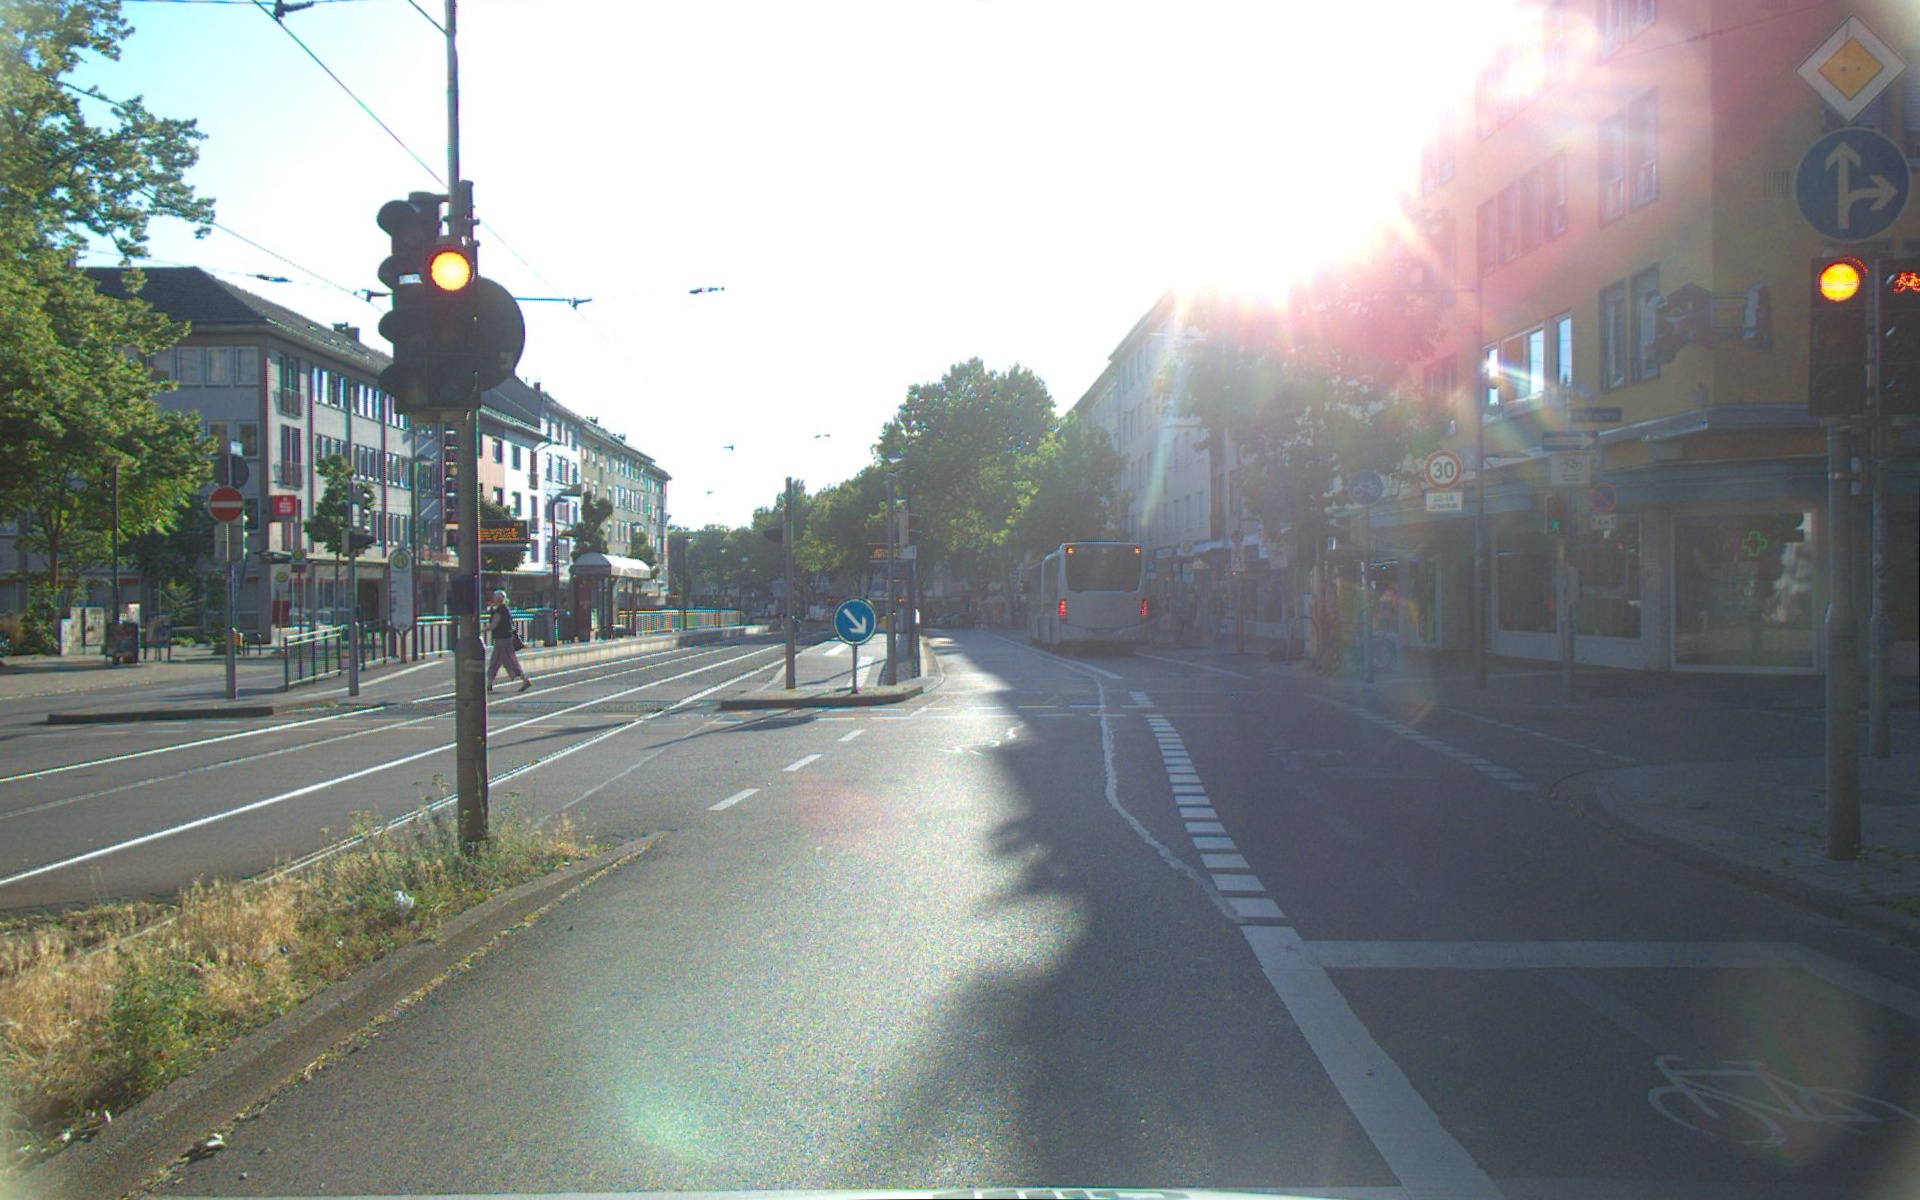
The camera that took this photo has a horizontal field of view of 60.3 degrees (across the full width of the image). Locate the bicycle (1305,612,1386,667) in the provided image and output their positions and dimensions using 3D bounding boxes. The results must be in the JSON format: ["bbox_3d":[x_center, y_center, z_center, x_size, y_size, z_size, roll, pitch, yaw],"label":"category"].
[{"bbox_3d":[7.442,0.757,31.957,1.453,1.026,0.454,-1,0,-5],"label":"bicycle"}]

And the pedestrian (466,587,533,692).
[{"bbox_3d":[-8.005,0.677,28.758,0.900,1.791,0.832,-1,-1,0],"label":"pedestrian"}]

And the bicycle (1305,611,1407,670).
[{"bbox_3d":[7.487,0.760,31.311,1.763,1.026,0.540,-3,0,-5],"label":"bicycle"}]

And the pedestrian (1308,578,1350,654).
[{"bbox_3d":[9.099,0.385,40.822,0.728,1.811,0.894,-3,-1,-2],"label":"pedestrian"}]

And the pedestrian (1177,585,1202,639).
[{"bbox_3d":[7.775,0.418,56.016,0.709,1.810,0.766,-1,-1,-2],"label":"pedestrian"}]

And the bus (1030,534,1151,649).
[{"bbox_3d":[3.791,-0.230,50.262,2.642,3.173,9.377,0,0,-2],"label":"bus"}]

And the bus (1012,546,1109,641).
[{"bbox_3d":[3.480,-0.207,59.421,2.642,3.173,9.066,0,0,-2],"label":"bus"}]

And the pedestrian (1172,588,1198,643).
[{"bbox_3d":[7.356,0.506,54.169,0.709,1.753,0.766,-1,-1,-2],"label":"pedestrian"}]

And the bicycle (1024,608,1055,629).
[{"bbox_3d":[4.850,1.123,101.009,1.848,1.096,0.754,-5,0,1],"label":"bicycle"}]

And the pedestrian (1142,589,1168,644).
[{"bbox_3d":[6.540,0.545,55.498,0.709,1.838,0.766,-1,-1,-2],"label":"pedestrian"}]
